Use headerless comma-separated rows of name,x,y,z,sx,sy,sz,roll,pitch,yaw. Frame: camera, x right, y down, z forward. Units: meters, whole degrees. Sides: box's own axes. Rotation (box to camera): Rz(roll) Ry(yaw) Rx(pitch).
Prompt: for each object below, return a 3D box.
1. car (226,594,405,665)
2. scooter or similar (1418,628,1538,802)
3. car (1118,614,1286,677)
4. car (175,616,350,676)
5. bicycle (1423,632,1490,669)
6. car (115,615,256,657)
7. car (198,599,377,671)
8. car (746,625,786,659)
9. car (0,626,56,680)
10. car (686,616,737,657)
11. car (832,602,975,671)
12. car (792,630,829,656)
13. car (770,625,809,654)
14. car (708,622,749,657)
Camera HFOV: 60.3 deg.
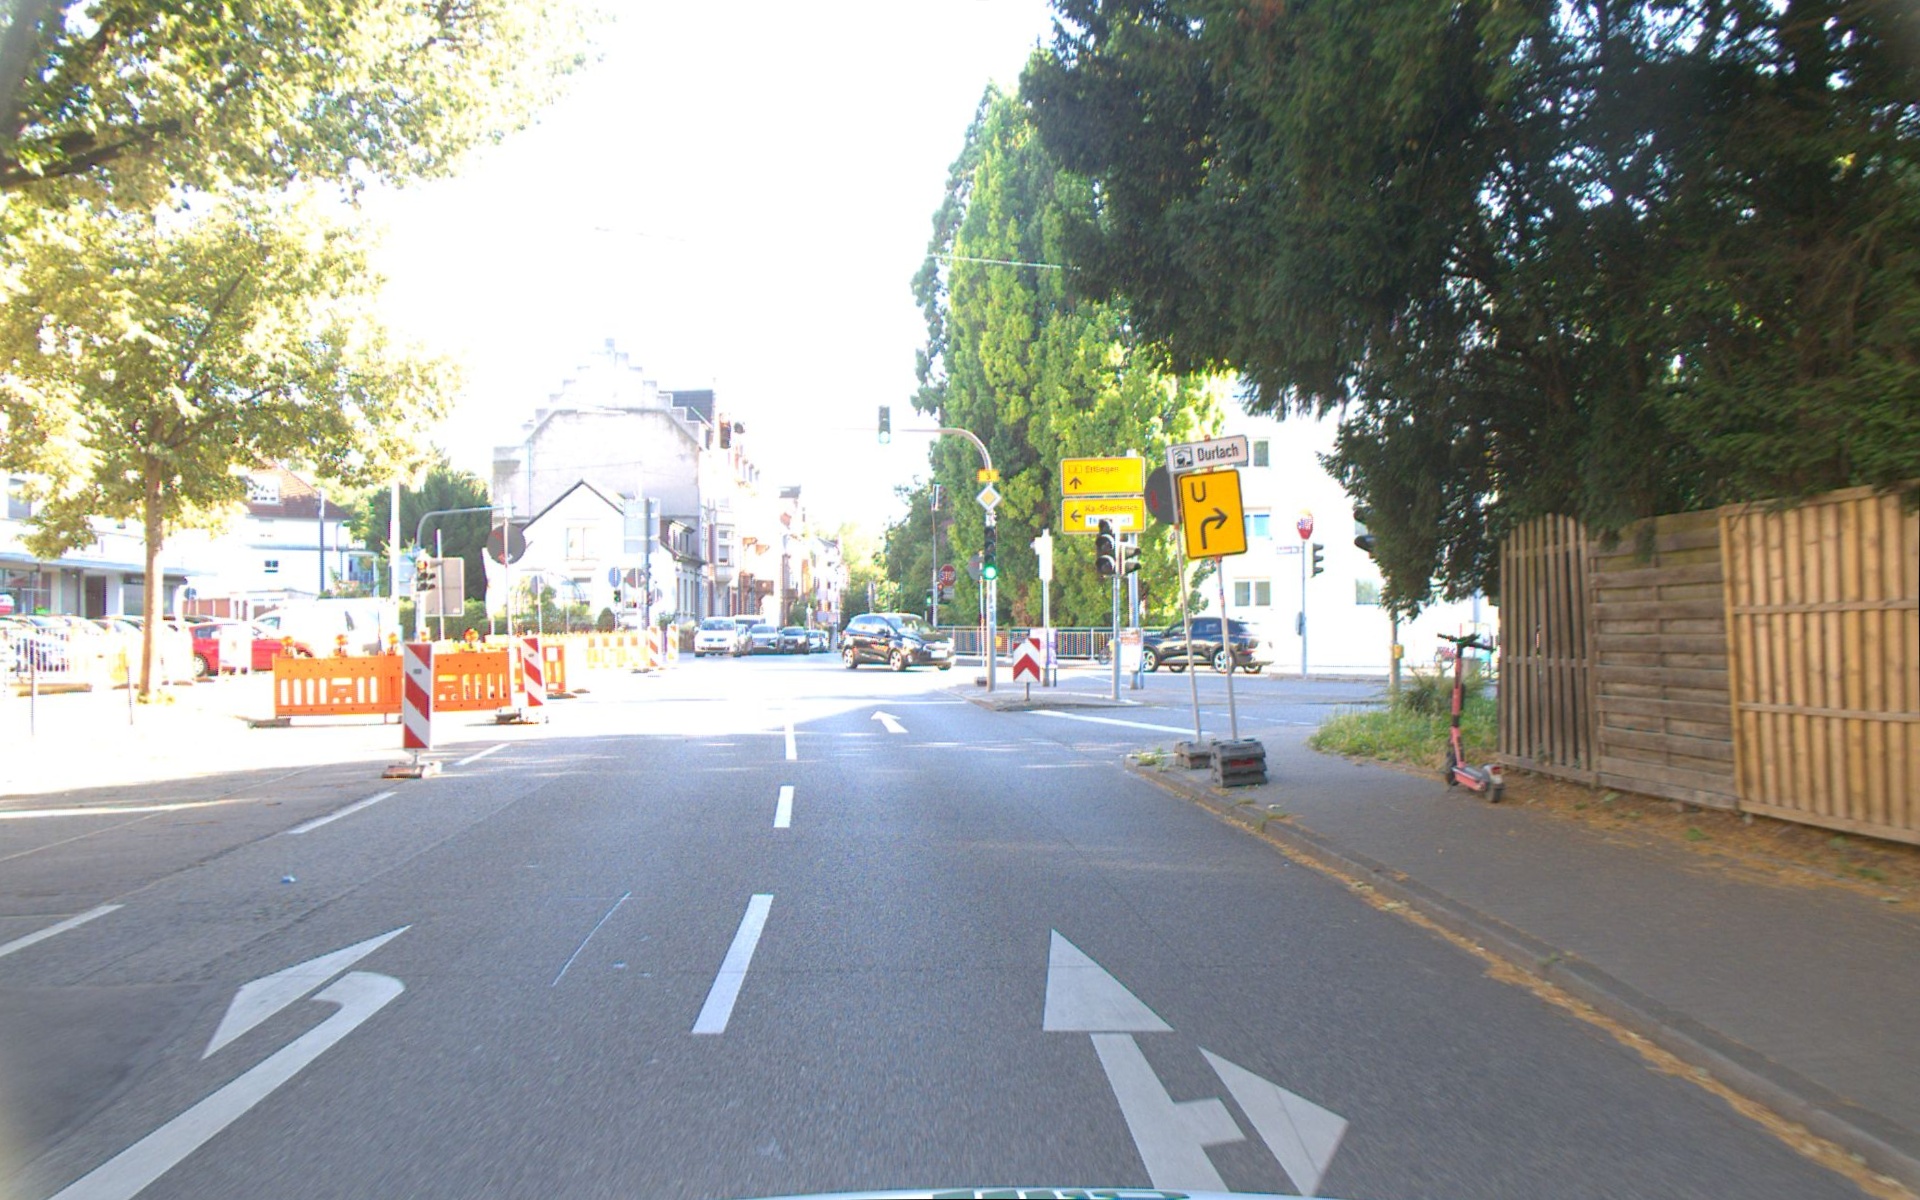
car,-19.462,0.900,50.127,4.577,1.999,2.114,2,-1,-7
scooter or similar,3.873,0.834,12.436,0.429,1.223,1.258,-2,-1,-1
car,7.149,1.336,49.099,4.578,1.700,1.989,-1,-5,41
car,-18.792,1.248,44.735,3.916,1.505,1.996,1,-1,-9
bicycle,15.318,1.542,51.011,1.885,1.087,0.613,1,-2,36
car,-28.276,1.314,60.466,4.221,1.423,2.001,1,-1,9
car,-19.154,1.000,47.253,4.226,1.884,1.999,2,-1,-2
car,-10.230,2.224,87.557,1.740,1.677,4.531,2,-1,-3
car,-27.320,1.385,45.059,4.227,1.423,1.999,2,-1,-2
car,-9.994,1.463,66.313,1.745,1.570,3.987,2,-1,-13
car,-1.682,0.997,47.782,1.981,1.847,4.190,-2,1,-40
car,-10.332,2.985,114.438,1.912,1.677,4.284,1,-1,3
car,-10.427,2.391,101.247,1.913,1.677,4.282,2,-1,0
car,-10.580,1.799,75.807,1.742,1.506,4.089,2,-1,-7
